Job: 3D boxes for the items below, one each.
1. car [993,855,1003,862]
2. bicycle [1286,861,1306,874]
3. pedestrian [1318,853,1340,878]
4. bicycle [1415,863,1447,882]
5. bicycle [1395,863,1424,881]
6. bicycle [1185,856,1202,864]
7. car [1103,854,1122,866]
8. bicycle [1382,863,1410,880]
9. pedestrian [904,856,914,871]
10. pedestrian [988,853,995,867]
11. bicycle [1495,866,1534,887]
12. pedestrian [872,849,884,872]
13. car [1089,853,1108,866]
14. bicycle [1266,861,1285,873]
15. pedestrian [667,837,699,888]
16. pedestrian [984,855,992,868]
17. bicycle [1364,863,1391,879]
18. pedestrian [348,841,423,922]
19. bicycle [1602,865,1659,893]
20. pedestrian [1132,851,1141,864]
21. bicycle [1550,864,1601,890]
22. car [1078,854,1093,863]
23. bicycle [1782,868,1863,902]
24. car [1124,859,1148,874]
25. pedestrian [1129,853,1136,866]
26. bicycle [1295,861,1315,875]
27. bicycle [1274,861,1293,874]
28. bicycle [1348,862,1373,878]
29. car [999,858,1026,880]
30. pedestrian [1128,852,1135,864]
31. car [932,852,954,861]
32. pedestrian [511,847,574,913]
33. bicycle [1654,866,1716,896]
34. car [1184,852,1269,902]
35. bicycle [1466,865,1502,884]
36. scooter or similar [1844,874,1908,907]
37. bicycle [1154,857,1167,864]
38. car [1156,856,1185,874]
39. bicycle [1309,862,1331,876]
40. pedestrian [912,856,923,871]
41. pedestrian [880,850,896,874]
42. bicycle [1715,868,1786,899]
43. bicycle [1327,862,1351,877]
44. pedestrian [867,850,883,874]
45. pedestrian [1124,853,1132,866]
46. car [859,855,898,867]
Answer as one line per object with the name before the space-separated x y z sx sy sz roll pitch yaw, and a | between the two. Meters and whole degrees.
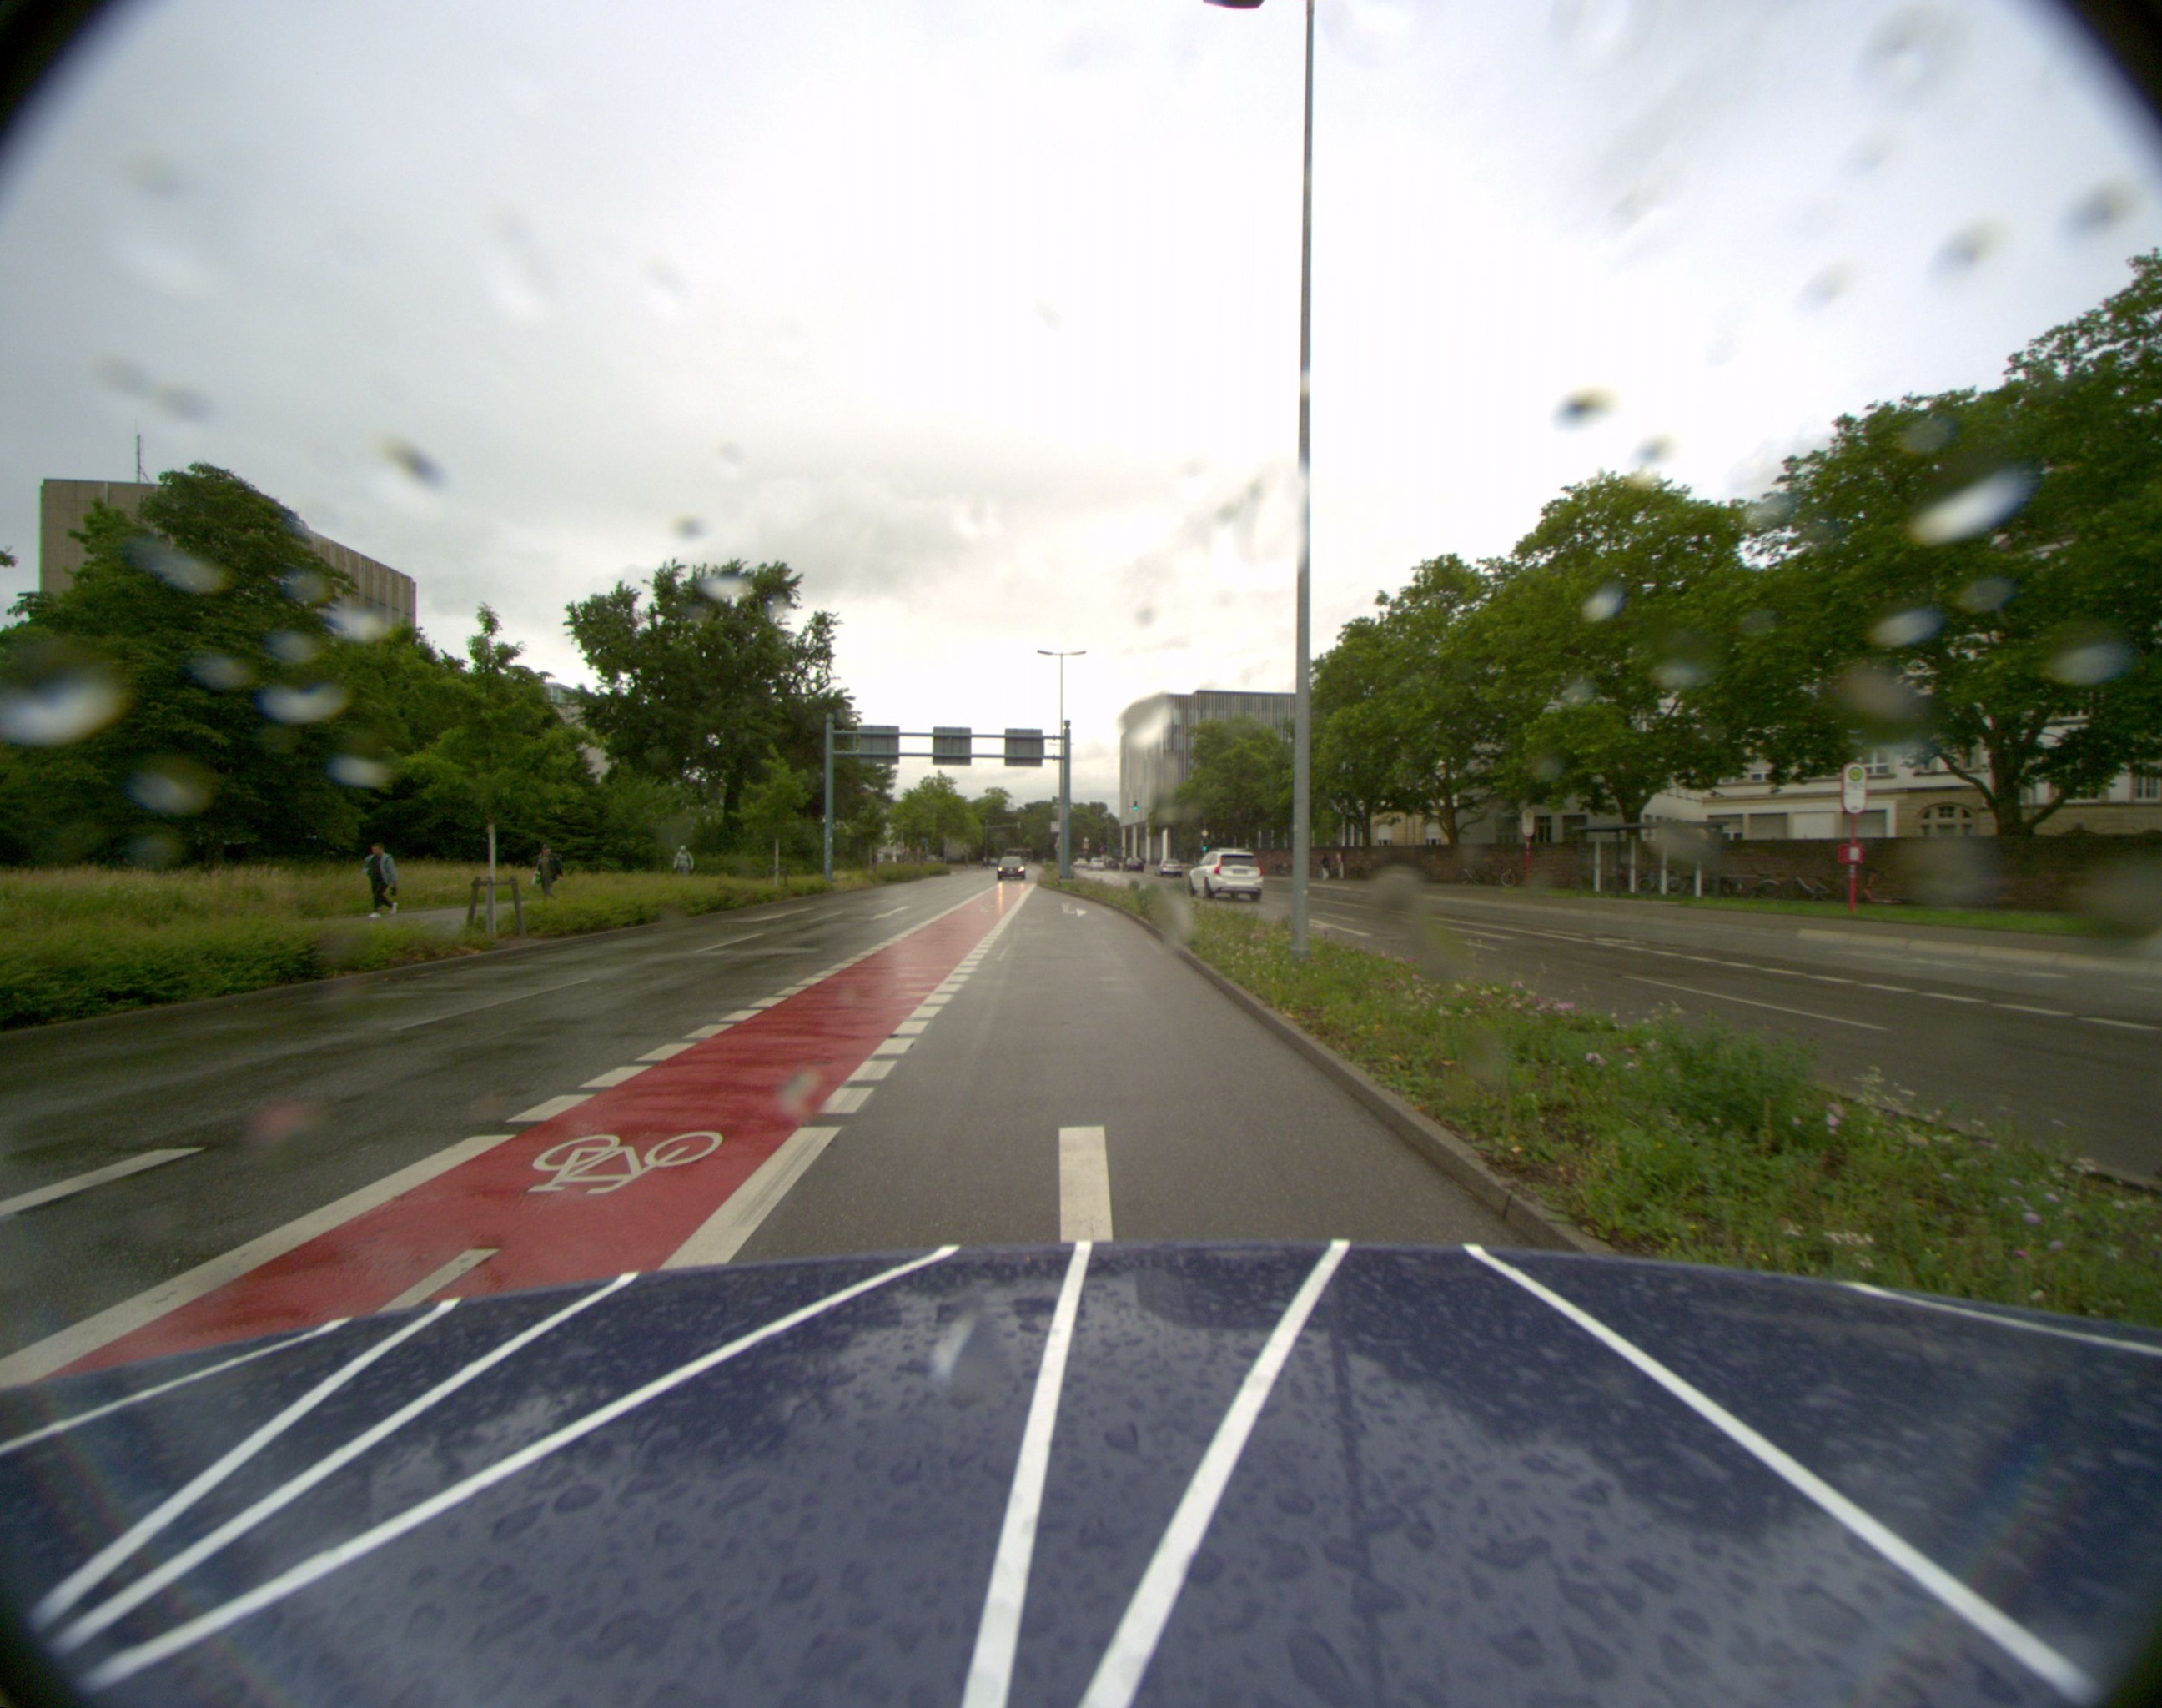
car | -15.674 0.882 143.132 1.661 1.259 4.105 0 0 -4
bicycle | 16.616 1.049 58.694 0.734 0.977 1.699 0 0 -14
pedestrian | 16.774 0.752 51.487 0.871 1.686 1.399 0 0 -9
bicycle | 19.746 1.035 42.890 0.734 0.977 1.699 0 0 -14
bicycle | 19.539 1.067 45.236 0.734 0.977 1.699 0 0 -14
bicycle | 16.109 0.882 108.754 2.287 1.215 0.598 0 0 -15
car | 4.071 0.798 98.117 1.629 1.407 4.062 2 0 -10
bicycle | 19.309 1.067 46.570 0.734 0.977 1.699 0 0 -14
pedestrian | -18.291 1.011 80.716 0.878 1.598 0.862 0 0 -24
pedestrian | -12.342 0.817 105.206 0.785 1.813 0.625 0 0 18
bicycle | 21.658 1.119 37.994 0.734 0.977 1.699 0 0 -14
pedestrian | -16.171 0.528 60.493 0.731 1.848 0.851 0 0 4
car | 1.988 0.673 89.453 1.684 1.493 3.865 1 0 -7
bicycle | 15.958 1.050 62.365 0.734 0.977 1.699 0 0 -14
pedestrian | -15.875 0.329 30.326 0.792 2.002 0.829 0 0 4
pedestrian | -12.715 1.035 104.066 0.785 1.813 0.626 1 0 21
bicycle | 18.828 1.051 48.239 0.734 0.977 1.699 0 0 -14
pedestrian | -15.704 0.610 17.188 0.935 1.786 0.829 0 0 4
bicycle | 23.721 1.056 32.818 0.575 1.129 1.987 0 0 -22
pedestrian | 8.061 0.532 109.516 0.941 1.813 0.921 0 0 -26
bicycle | 22.771 1.052 35.036 0.575 1.129 1.987 0 0 -22
car | 0.720 0.685 117.308 1.601 1.407 4.520 2 0 -8
bicycle | 26.241 1.090 26.940 0.575 1.129 1.988 0 0 -19
car | 6.089 1.340 84.576 1.814 1.531 4.700 2 0 -6
pedestrian | 7.344 0.749 107.899 0.788 1.813 0.623 0 0 -26
bicycle | 16.638 1.046 56.512 0.733 0.977 1.863 0 0 -9
bicycle | 16.081 1.048 60.345 0.734 0.977 1.699 0 0 -14
bicycle | 18.327 1.050 49.917 0.734 0.977 1.699 0 0 -14
car | -4.376 0.922 49.122 1.661 1.356 4.105 0 0 -4
pedestrian | 7.193 0.563 108.856 0.788 1.814 0.623 0 1 -26
car | -28.408 0.455 155.984 4.428 1.862 1.636 0 0 -11
pedestrian | -14.596 0.699 20.625 0.935 1.737 1.046 0 0 4
bicycle | 24.560 1.084 30.924 0.575 1.129 1.988 0 0 -19
car | 5.376 0.782 28.746 1.831 1.672 5.163 2 0 -4
bicycle | 21.207 1.078 40.029 0.734 0.977 1.699 0 0 -14
scooter or similar | 26.751 1.200 25.586 0.574 1.040 1.360 0 0 -19
bicycle | 14.075 1.094 134.619 2.287 1.215 0.598 0 0 -15
car | 7.242 0.897 61.977 1.684 1.396 4.156 1 0 -3
bicycle | 17.223 1.049 54.713 0.734 0.977 1.699 0 0 -14
pedestrian | -17.461 1.021 81.132 0.878 1.598 0.862 0 0 -25
pedestrian | -14.168 0.592 55.884 0.935 1.710 0.829 -1 -2 2
bicycle | 25.295 1.097 28.772 0.575 1.129 1.988 0 0 -19
bicycle | 17.875 1.051 52.645 0.734 0.977 1.699 0 0 -14
pedestrian | -15.170 0.594 56.049 0.935 1.693 0.829 -1 -2 2
pedestrian | 6.525 0.732 104.818 0.788 1.813 0.794 0 0 -26
car | -24.524 0.815 92.055 4.389 1.330 1.771 0 3 -6
